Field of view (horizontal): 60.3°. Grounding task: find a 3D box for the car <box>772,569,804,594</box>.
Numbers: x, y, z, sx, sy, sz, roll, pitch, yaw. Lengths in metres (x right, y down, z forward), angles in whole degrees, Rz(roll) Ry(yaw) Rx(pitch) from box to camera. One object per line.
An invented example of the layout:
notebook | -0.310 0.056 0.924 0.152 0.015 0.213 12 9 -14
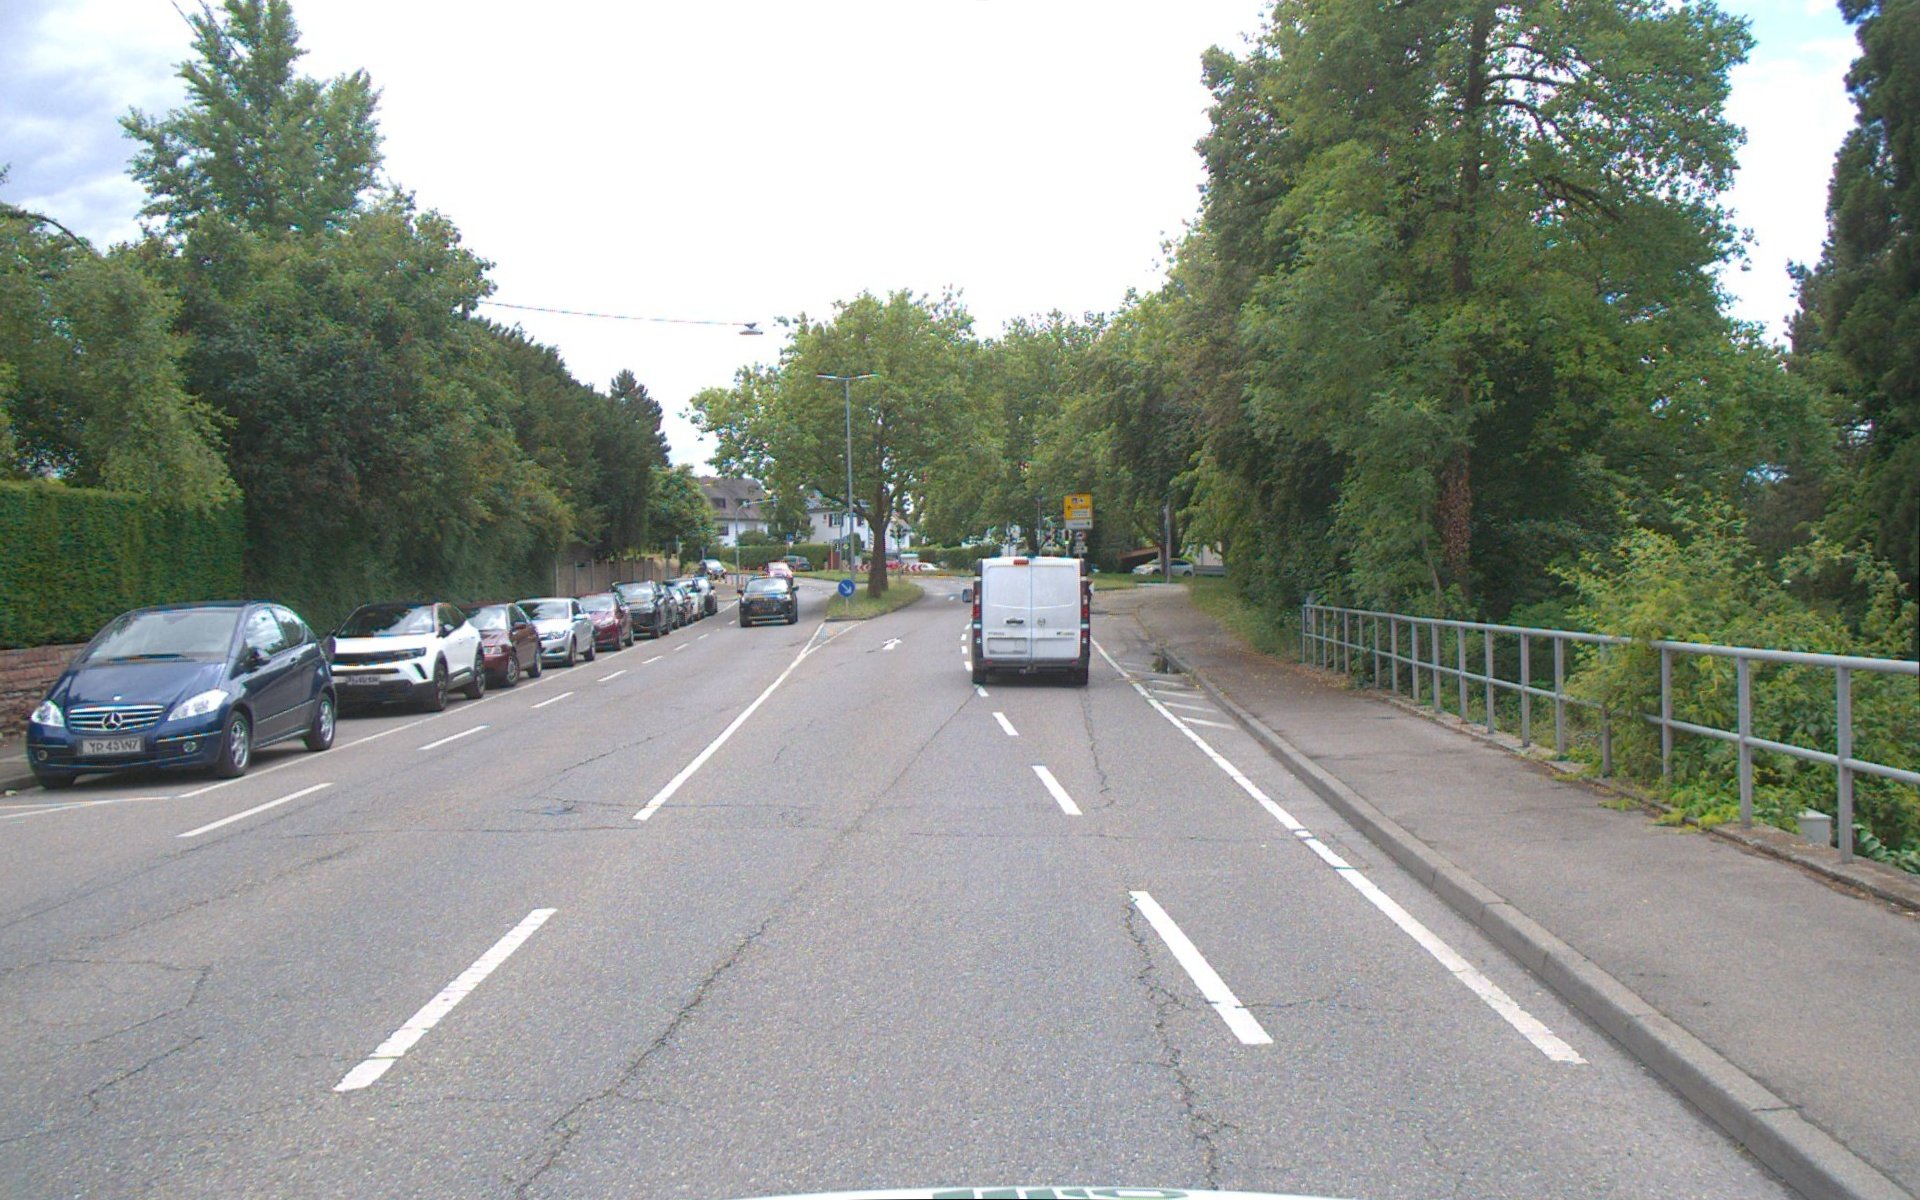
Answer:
car | -11.765 -1.280 113.177 1.959 1.615 3.994 -3 1 -4

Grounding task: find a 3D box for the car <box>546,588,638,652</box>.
car | -9.408 0.484 42.583 1.745 1.463 3.996 -3 1 -5

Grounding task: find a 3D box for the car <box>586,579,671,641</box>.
car | -9.800 0.258 49.257 1.955 1.671 4.461 -3 1 -5

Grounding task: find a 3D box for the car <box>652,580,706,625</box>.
car | -11.150 0.084 65.903 1.639 1.619 4.093 -3 1 -4

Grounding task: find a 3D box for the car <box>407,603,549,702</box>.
car | -8.508 0.873 29.495 1.637 1.504 3.907 -3 1 -5

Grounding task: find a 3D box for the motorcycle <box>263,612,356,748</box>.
motorcycle | -7.712 0.907 19.691 0.873 1.378 2.293 -4 3 -20

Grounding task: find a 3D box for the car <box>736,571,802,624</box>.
car | -6.482 -0.089 56.495 1.805 1.675 4.212 -2 0 -1

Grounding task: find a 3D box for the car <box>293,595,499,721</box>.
car | -8.079 0.763 24.091 1.853 1.520 4.023 -3 1 -5

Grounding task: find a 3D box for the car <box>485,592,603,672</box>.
car | -8.922 0.634 35.800 1.636 1.514 4.427 -3 1 -4

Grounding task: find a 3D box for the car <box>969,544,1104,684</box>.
car | 1.152 0.186 27.175 1.965 2.073 5.010 0 0 0

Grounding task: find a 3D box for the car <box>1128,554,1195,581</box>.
car | 14.633 -2.373 120.088 4.687 1.800 1.977 -2 2 -34

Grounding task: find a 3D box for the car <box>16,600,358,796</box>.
car | -7.361 0.838 16.205 1.646 1.583 3.968 -3 0 -4

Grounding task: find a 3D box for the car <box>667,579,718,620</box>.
car | -11.494 -0.063 71.232 1.851 1.653 4.425 -2 1 -6
